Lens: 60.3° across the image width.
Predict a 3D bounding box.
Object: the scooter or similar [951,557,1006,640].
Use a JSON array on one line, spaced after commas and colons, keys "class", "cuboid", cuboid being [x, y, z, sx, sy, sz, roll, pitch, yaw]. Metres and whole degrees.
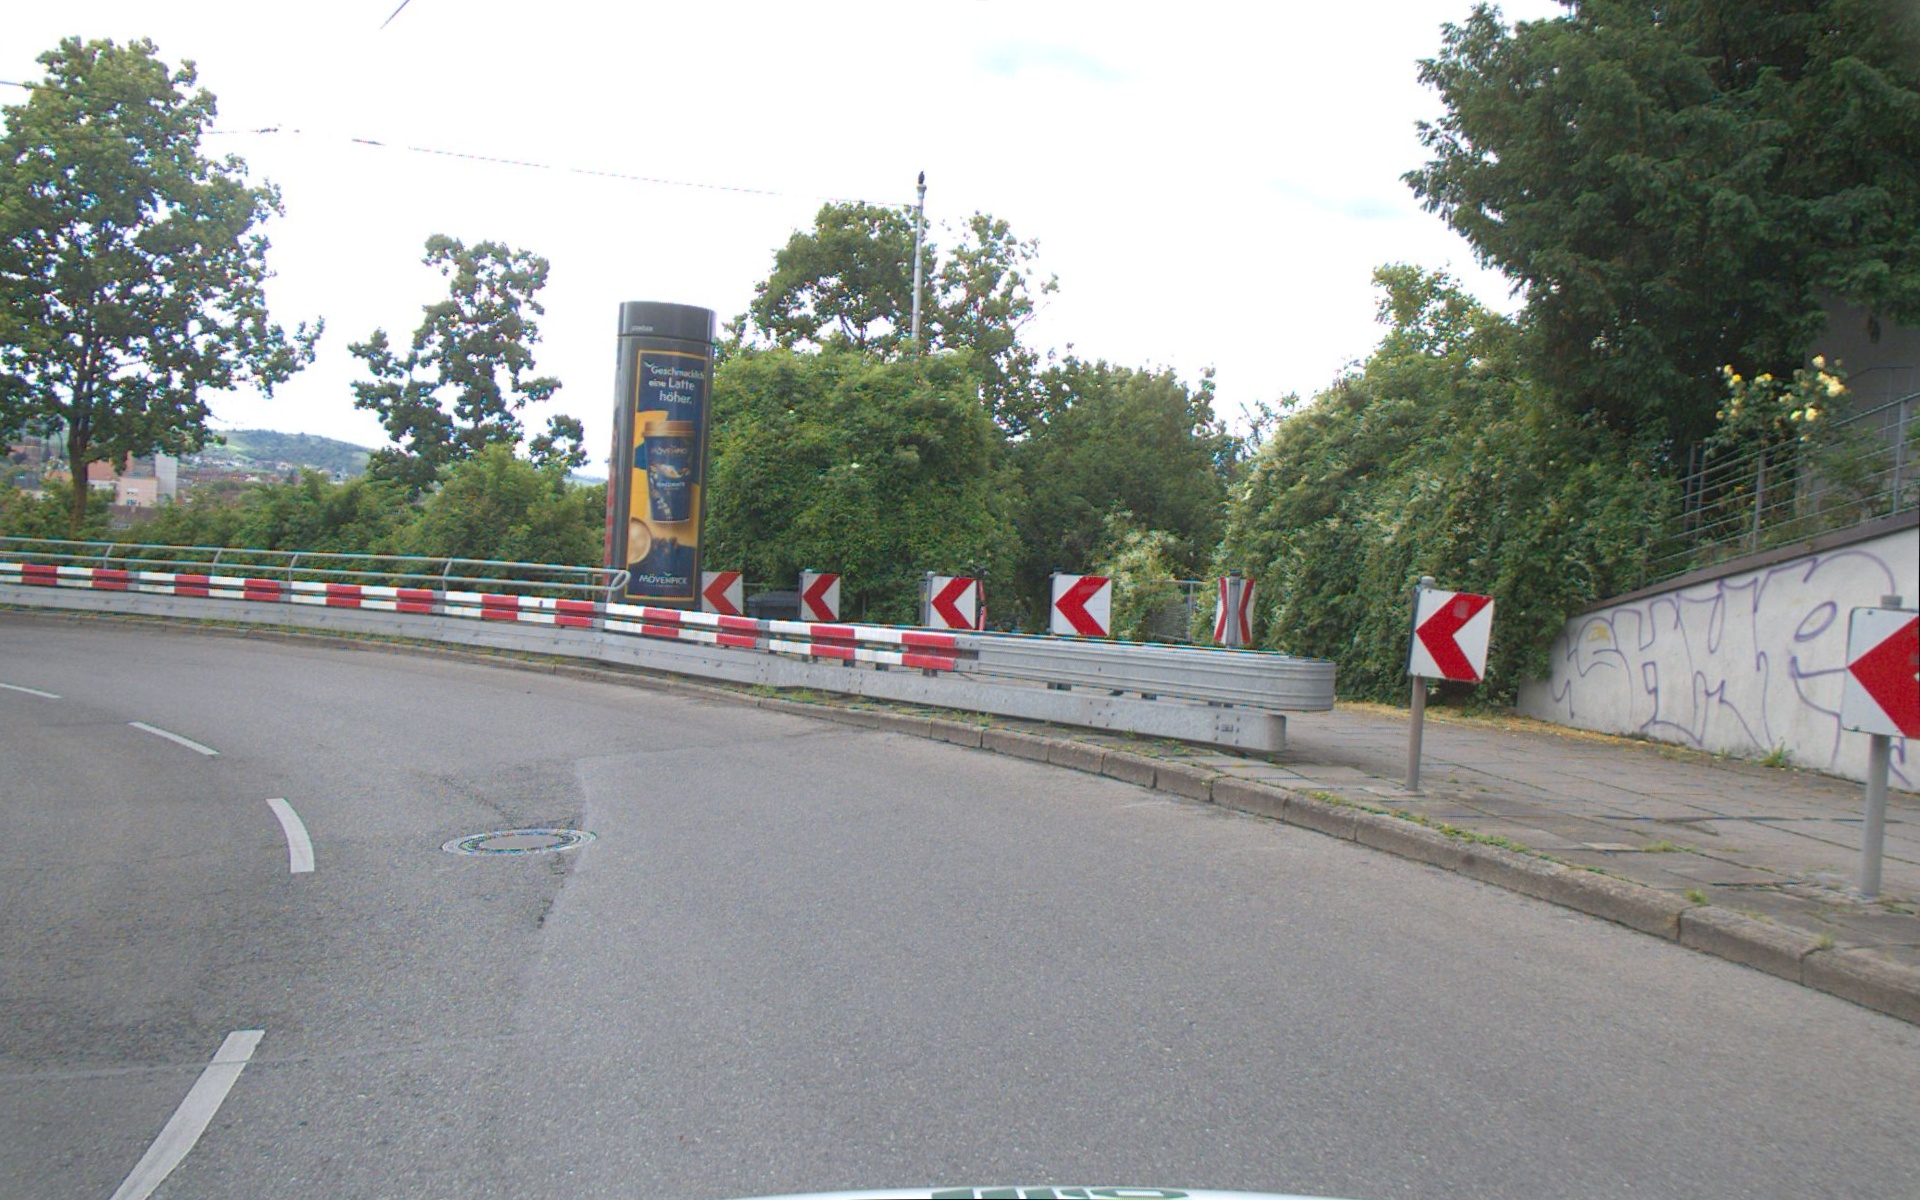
[{"class": "scooter or similar", "cuboid": [0.309, -0.042, 26.511, 0.426, 1.272, 1.502, 3, 2, 17]}]
